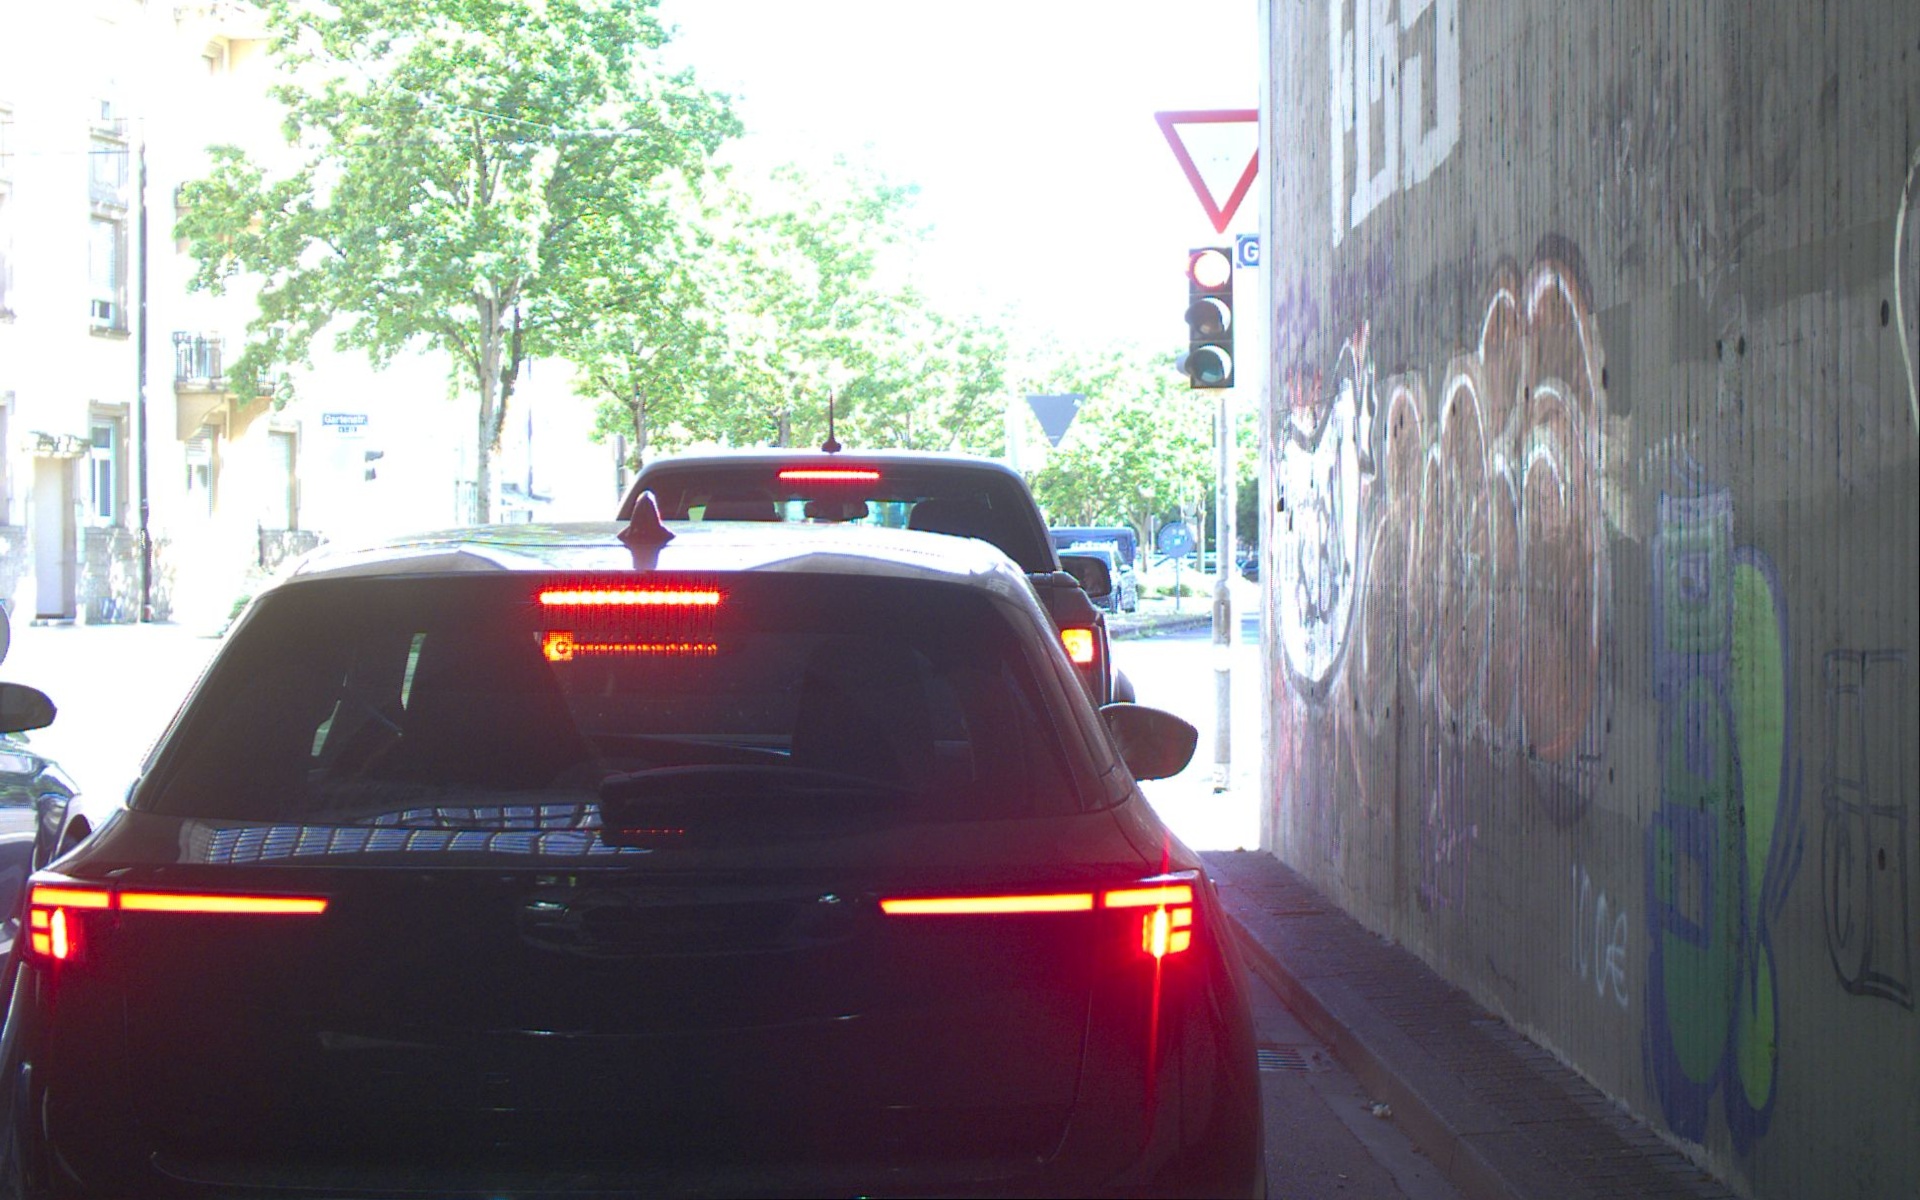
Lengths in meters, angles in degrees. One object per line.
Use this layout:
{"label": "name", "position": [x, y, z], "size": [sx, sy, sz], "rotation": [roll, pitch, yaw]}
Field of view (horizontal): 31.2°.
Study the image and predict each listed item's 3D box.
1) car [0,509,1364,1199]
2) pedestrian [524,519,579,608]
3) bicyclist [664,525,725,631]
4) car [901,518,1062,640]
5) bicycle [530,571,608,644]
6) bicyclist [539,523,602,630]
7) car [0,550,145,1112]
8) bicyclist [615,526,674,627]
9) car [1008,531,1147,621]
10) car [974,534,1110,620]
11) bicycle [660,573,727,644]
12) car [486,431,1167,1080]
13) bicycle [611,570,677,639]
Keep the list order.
{"label": "car", "position": [-0.484, 0.629, 6.057], "size": [1.882, 1.532, 3.964], "rotation": [0, 1, -1]}
{"label": "pedestrian", "position": [-9.340, -0.843, 78.670], "size": [0.992, 2.007, 1.088], "rotation": [0, 1, 8]}
{"label": "bicyclist", "position": [-4.026, -0.336, 52.108], "size": [0.729, 1.576, 0.814], "rotation": [1, 0, 9]}
{"label": "car", "position": [0.307, -0.238, 44.160], "size": [1.968, 1.492, 3.896], "rotation": [0, -1, 1]}
{"label": "bicycle", "position": [-5.848, 0.100, 51.502], "size": [0.732, 1.064, 1.688], "rotation": [1, 1, 9]}
{"label": "bicyclist", "position": [-5.830, -0.356, 51.528], "size": [0.729, 1.576, 0.814], "rotation": [1, 0, 9]}
{"label": "car", "position": [-3.355, 0.598, 8.520], "size": [1.779, 1.442, 4.179], "rotation": [1, 1, -2]}
{"label": "bicyclist", "position": [-4.997, -0.373, 54.430], "size": [0.729, 1.576, 0.814], "rotation": [1, 0, 9]}
{"label": "car", "position": [2.401, -0.447, 68.992], "size": [2.221, 1.713, 4.458], "rotation": [0, -1, 10]}
{"label": "car", "position": [1.516, -0.391, 62.182], "size": [1.969, 1.492, 3.895], "rotation": [0, -1, 9]}
{"label": "bicycle", "position": [-4.032, 0.120, 52.121], "size": [0.626, 1.064, 1.688], "rotation": [1, 1, 9]}
{"label": "car", "position": [-0.404, 0.410, 11.878], "size": [1.945, 1.853, 3.964], "rotation": [0, 1, -1]}
{"label": "bicycle", "position": [-5.001, 0.069, 54.484], "size": [0.626, 1.064, 1.688], "rotation": [1, 1, 9]}
